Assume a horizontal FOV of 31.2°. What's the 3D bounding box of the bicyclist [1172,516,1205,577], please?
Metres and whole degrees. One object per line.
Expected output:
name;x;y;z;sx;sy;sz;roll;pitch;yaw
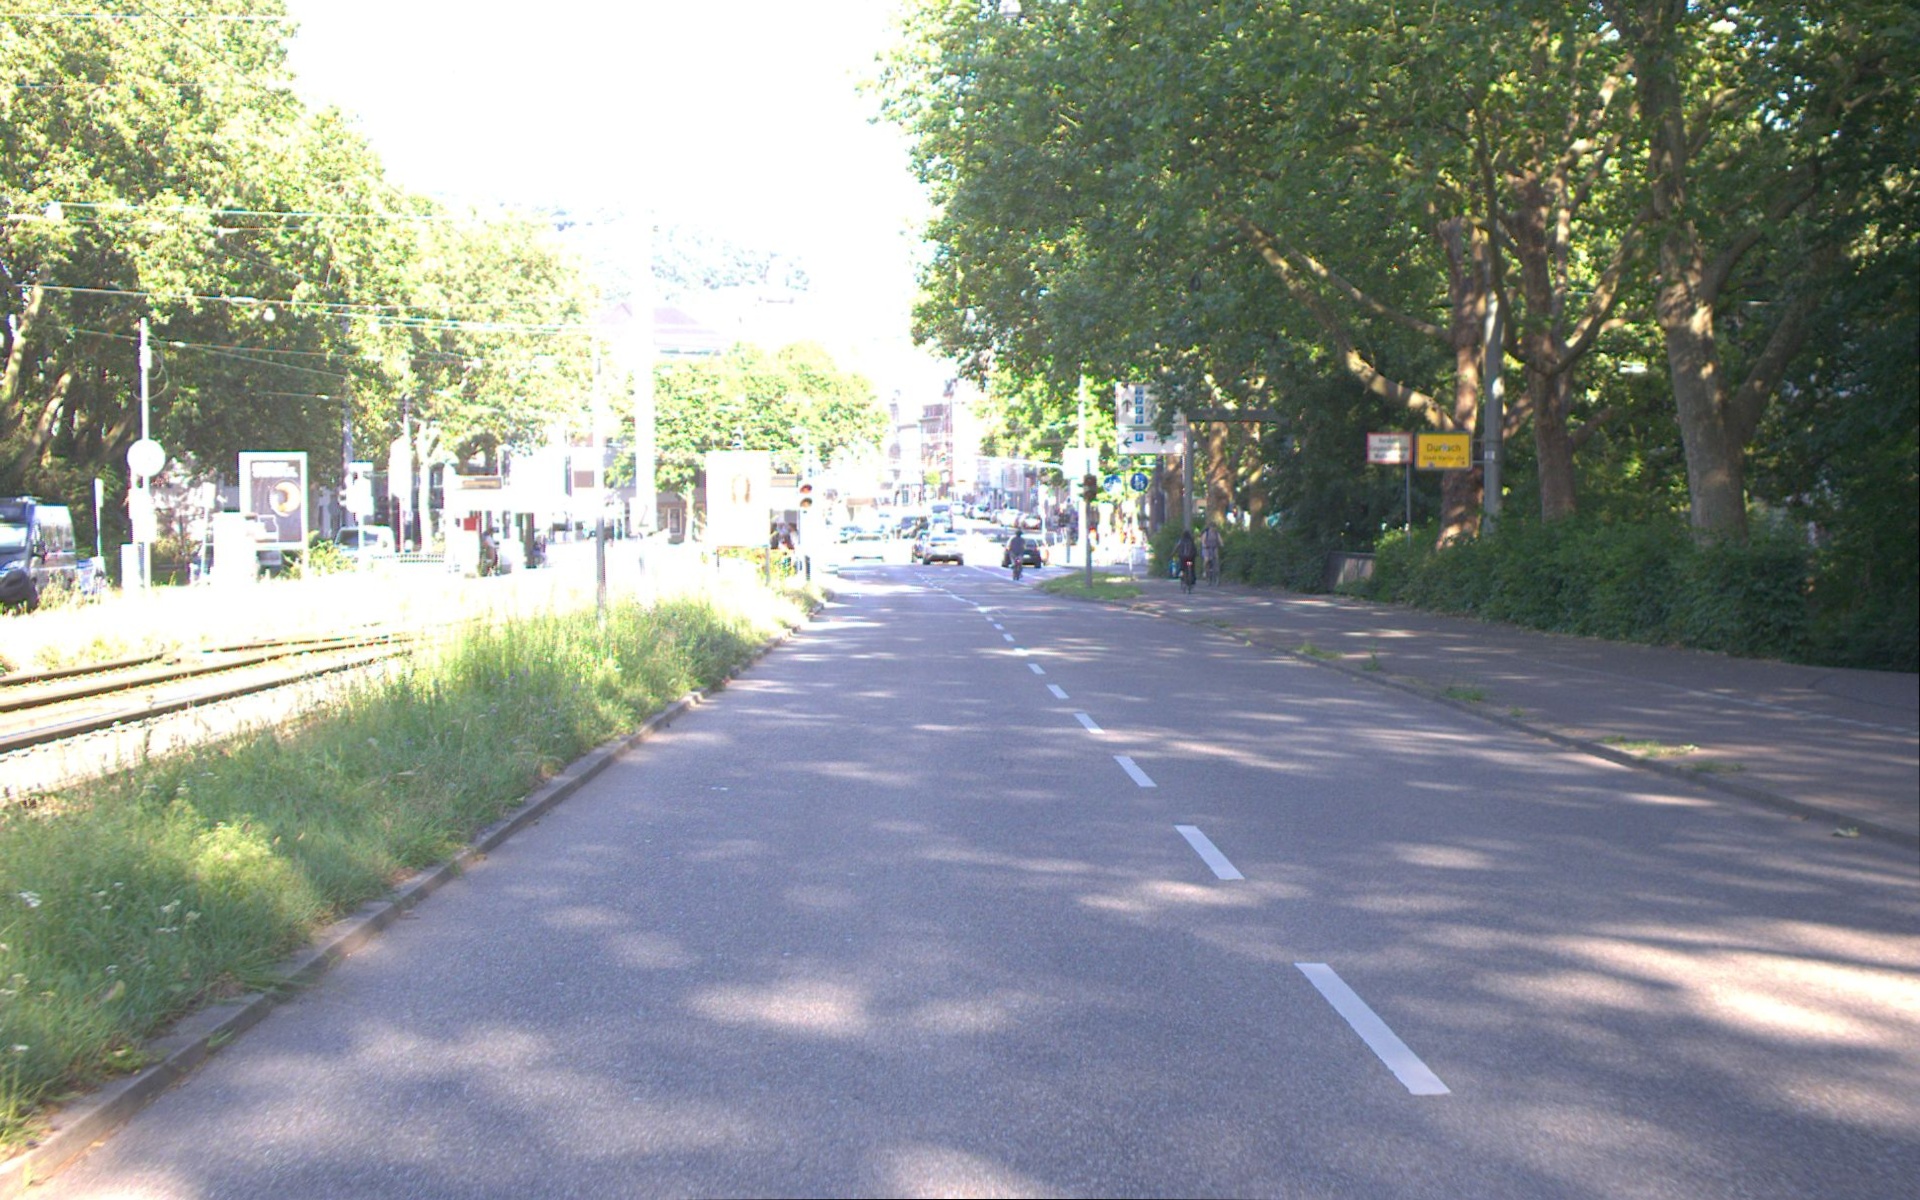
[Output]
bicyclist;5.639;-1.321;84.872;0.766;1.507;0.650;0;1;-2

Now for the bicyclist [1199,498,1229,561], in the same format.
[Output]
bicyclist;6.944;-1.934;94.030;0.699;1.722;1.080;0;1;-3

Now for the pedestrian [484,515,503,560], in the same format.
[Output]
pedestrian;-16.174;-2.161;119.183;0.592;1.538;0.627;1;0;-1

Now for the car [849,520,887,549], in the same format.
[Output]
car;-4.635;-3.292;172.773;1.808;1.447;4.001;1;1;-3

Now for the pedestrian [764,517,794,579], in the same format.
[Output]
pedestrian;-4.695;-1.353;89.113;0.520;1.563;0.507;-2;1;28

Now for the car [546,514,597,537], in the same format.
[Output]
car;-28.337;-5.410;250.767;1.797;1.643;4.004;1;2;27

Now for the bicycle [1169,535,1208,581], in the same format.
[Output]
bicycle;5.635;-1.053;84.873;0.766;1.104;1.800;0;1;-2

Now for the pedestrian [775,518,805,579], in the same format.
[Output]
pedestrian;-4.428;-1.353;89.526;0.520;1.563;0.507;-2;1;28

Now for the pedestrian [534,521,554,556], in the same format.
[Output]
pedestrian;-16.436;-2.433;135.714;0.669;1.320;0.757;-3;1;-4

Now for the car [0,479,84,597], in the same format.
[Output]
car;-21.300;-1.347;76.829;2.183;2.512;6.033;-2;1;-4

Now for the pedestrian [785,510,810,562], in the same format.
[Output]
pedestrian;-5.333;-2.104;112.769;0.742;1.688;0.791;1;1;-1

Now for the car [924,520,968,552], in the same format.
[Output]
car;-0.701;-3.048;163.638;1.929;1.467;4.855;0;1;-2

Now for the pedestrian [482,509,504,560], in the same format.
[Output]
pedestrian;-16.286;-2.283;119.837;0.648;1.766;0.650;1;0;1

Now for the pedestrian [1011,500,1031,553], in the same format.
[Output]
pedestrian;2.143;-2.600;120.995;0.657;1.864;0.678;0;1;-2

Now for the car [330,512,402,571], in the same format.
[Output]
car;-22.341;-2.189;129.383;2.067;2.117;5.091;-2;1;-4

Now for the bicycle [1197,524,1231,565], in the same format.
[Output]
bicycle;6.943;-1.529;94.036;0.699;1.104;1.930;0;1;-3

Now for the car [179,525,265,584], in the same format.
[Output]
car;-21.454;-1.324;100.039;1.902;1.646;3.974;-2;1;-5

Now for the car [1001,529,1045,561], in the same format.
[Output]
car;2.887;-2.551;158.722;1.800;1.434;4.046;1;1;-2

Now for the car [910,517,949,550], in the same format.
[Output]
car;-1.516;-3.323;171.048;1.800;1.632;4.046;0;1;-3
